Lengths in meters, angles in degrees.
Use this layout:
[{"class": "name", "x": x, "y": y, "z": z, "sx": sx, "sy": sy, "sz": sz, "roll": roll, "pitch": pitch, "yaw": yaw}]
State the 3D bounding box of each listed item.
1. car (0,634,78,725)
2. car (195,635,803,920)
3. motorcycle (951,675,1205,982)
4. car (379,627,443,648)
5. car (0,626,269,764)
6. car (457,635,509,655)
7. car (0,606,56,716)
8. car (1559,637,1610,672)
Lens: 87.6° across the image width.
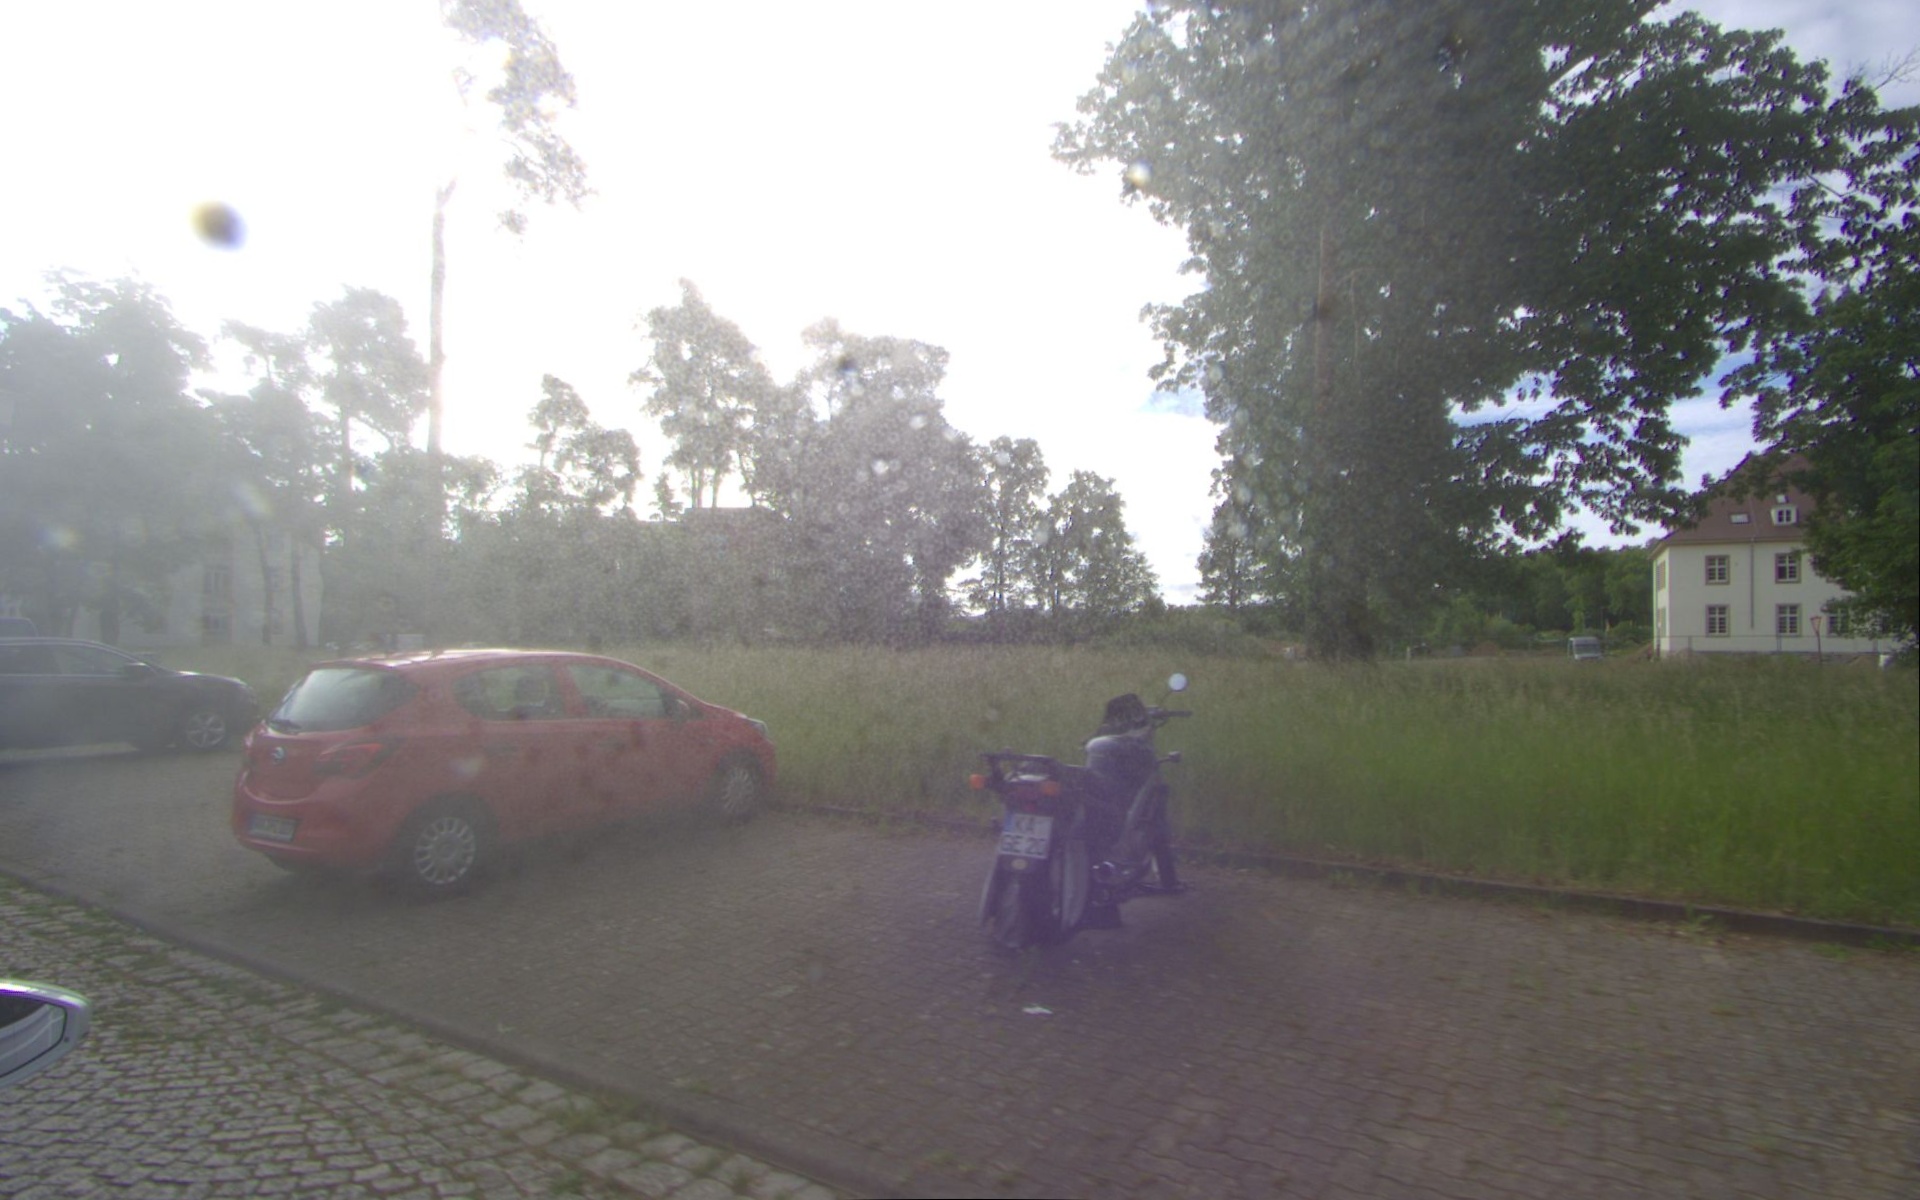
[{"class": "car", "x": -17.155, "y": 1.310, "z": 16.144, "sx": 1.695, "sy": 1.498, "sz": 4.095, "roll": 0, "pitch": -1, "yaw": 29}, {"class": "car", "x": -3.125, "y": 1.044, "z": 7.611, "sx": 1.758, "sy": 1.516, "sz": 3.919, "roll": 0, "pitch": -2, "yaw": 30}, {"class": "motorcycle", "x": 0.747, "y": 1.075, "z": 5.454, "sx": 0.559, "sy": 1.217, "sz": 2.228, "roll": 0, "pitch": -1, "yaw": 30}, {"class": "car", "x": -56.025, "y": 3.844, "z": 102.285, "sx": 2.076, "sy": 2.044, "sz": 5.294, "roll": -1, "pitch": -4, "yaw": 32}, {"class": "car", "x": -11.747, "y": 1.152, "z": 12.979, "sx": 1.924, "sy": 1.615, "sz": 4.199, "roll": 0, "pitch": -1, "yaw": 29}, {"class": "car", "x": -46.476, "y": 4.425, "z": 97.617, "sx": 1.874, "sy": 1.825, "sz": 4.127, "roll": -1, "pitch": -4, "yaw": 34}, {"class": "car", "x": -19.262, "y": 1.099, "z": 17.505, "sx": 1.937, "sy": 2.030, "sz": 4.790, "roll": 0, "pitch": -1, "yaw": 30}, {"class": "car", "x": 49.906, "y": 4.393, "z": 80.100, "sx": 2.238, "sy": 2.673, "sz": 5.676, "roll": 0, "pitch": -4, "yaw": 20}]
